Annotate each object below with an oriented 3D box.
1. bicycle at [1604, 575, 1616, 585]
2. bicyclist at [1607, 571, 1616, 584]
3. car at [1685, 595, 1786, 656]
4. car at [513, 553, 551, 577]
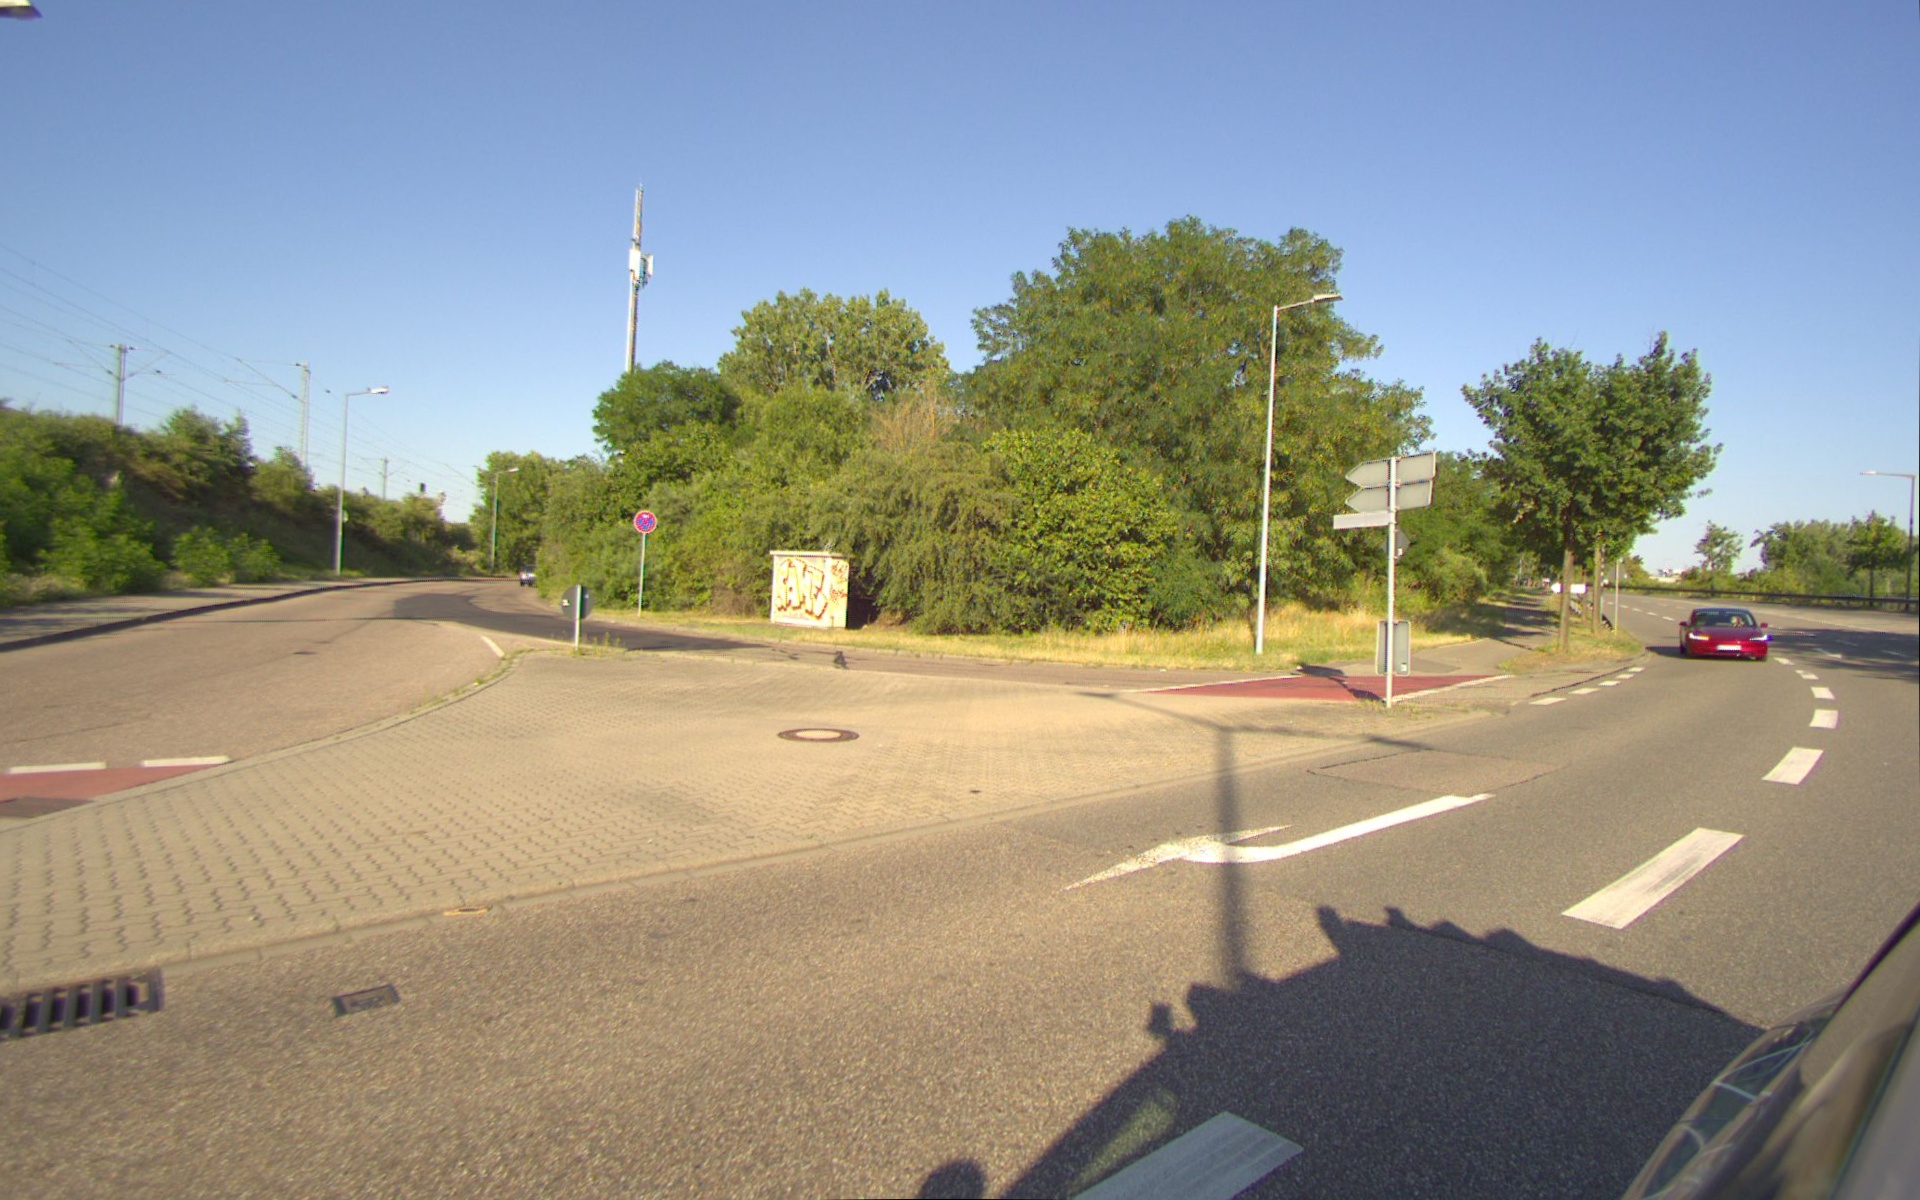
[{"bbox_3d":[79.573,-2.454,123.817,0.576,1.089,2.300,4,4,18],"label":"bicycle"},{"bbox_3d":[79.455,-2.781,123.375,0.593,1.476,0.824,4,3,18],"label":"bicyclist"},{"bbox_3d":[22.272,0.670,29.232,1.768,1.459,4.313,1,3,31],"label":"car"},{"bbox_3d":[-27.728,-2.258,65.664,1.618,1.465,3.647,1,1,-12],"label":"car"}]
